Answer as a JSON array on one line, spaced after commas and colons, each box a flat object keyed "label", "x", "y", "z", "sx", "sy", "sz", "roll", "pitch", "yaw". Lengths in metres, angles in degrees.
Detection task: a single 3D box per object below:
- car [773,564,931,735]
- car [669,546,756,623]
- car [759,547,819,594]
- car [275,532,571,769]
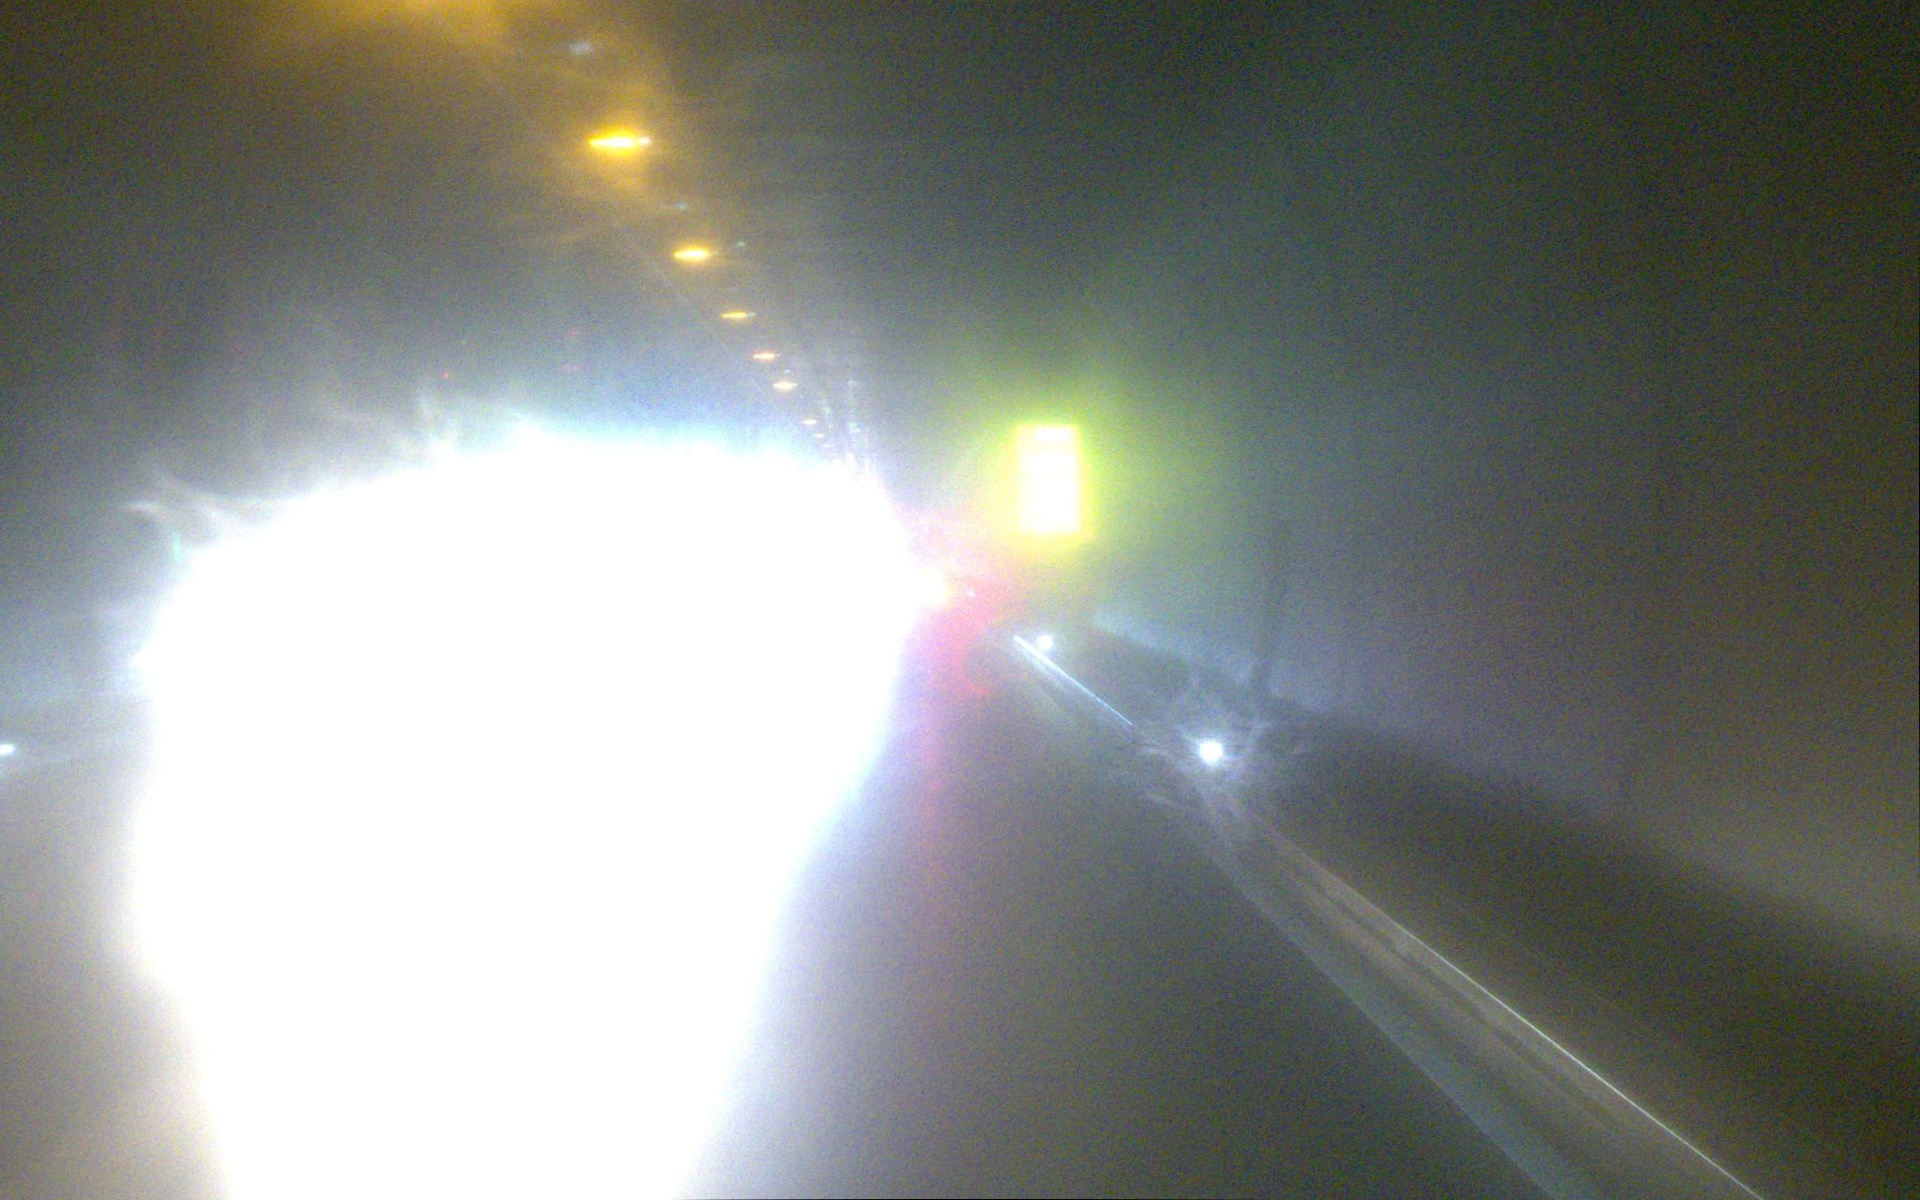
[{"label": "car", "x": -1.156, "y": 0.498, "z": 37.830, "sx": 1.635, "sy": 1.752, "sz": 4.146, "roll": 0, "pitch": 1, "yaw": -1}, {"label": "car", "x": -5.522, "y": -0.360, "z": 77.045, "sx": 1.697, "sy": 1.670, "sz": 4.127, "roll": 0, "pitch": 1, "yaw": -1}, {"label": "car", "x": -5.525, "y": -0.963, "z": 111.470, "sx": 1.748, "sy": 1.475, "sz": 4.476, "roll": 0, "pitch": 1, "yaw": -1}, {"label": "car", "x": -4.144, "y": 0.342, "z": 27.104, "sx": 1.914, "sy": 1.722, "sz": 4.001, "roll": 0, "pitch": 1, "yaw": -3}]
